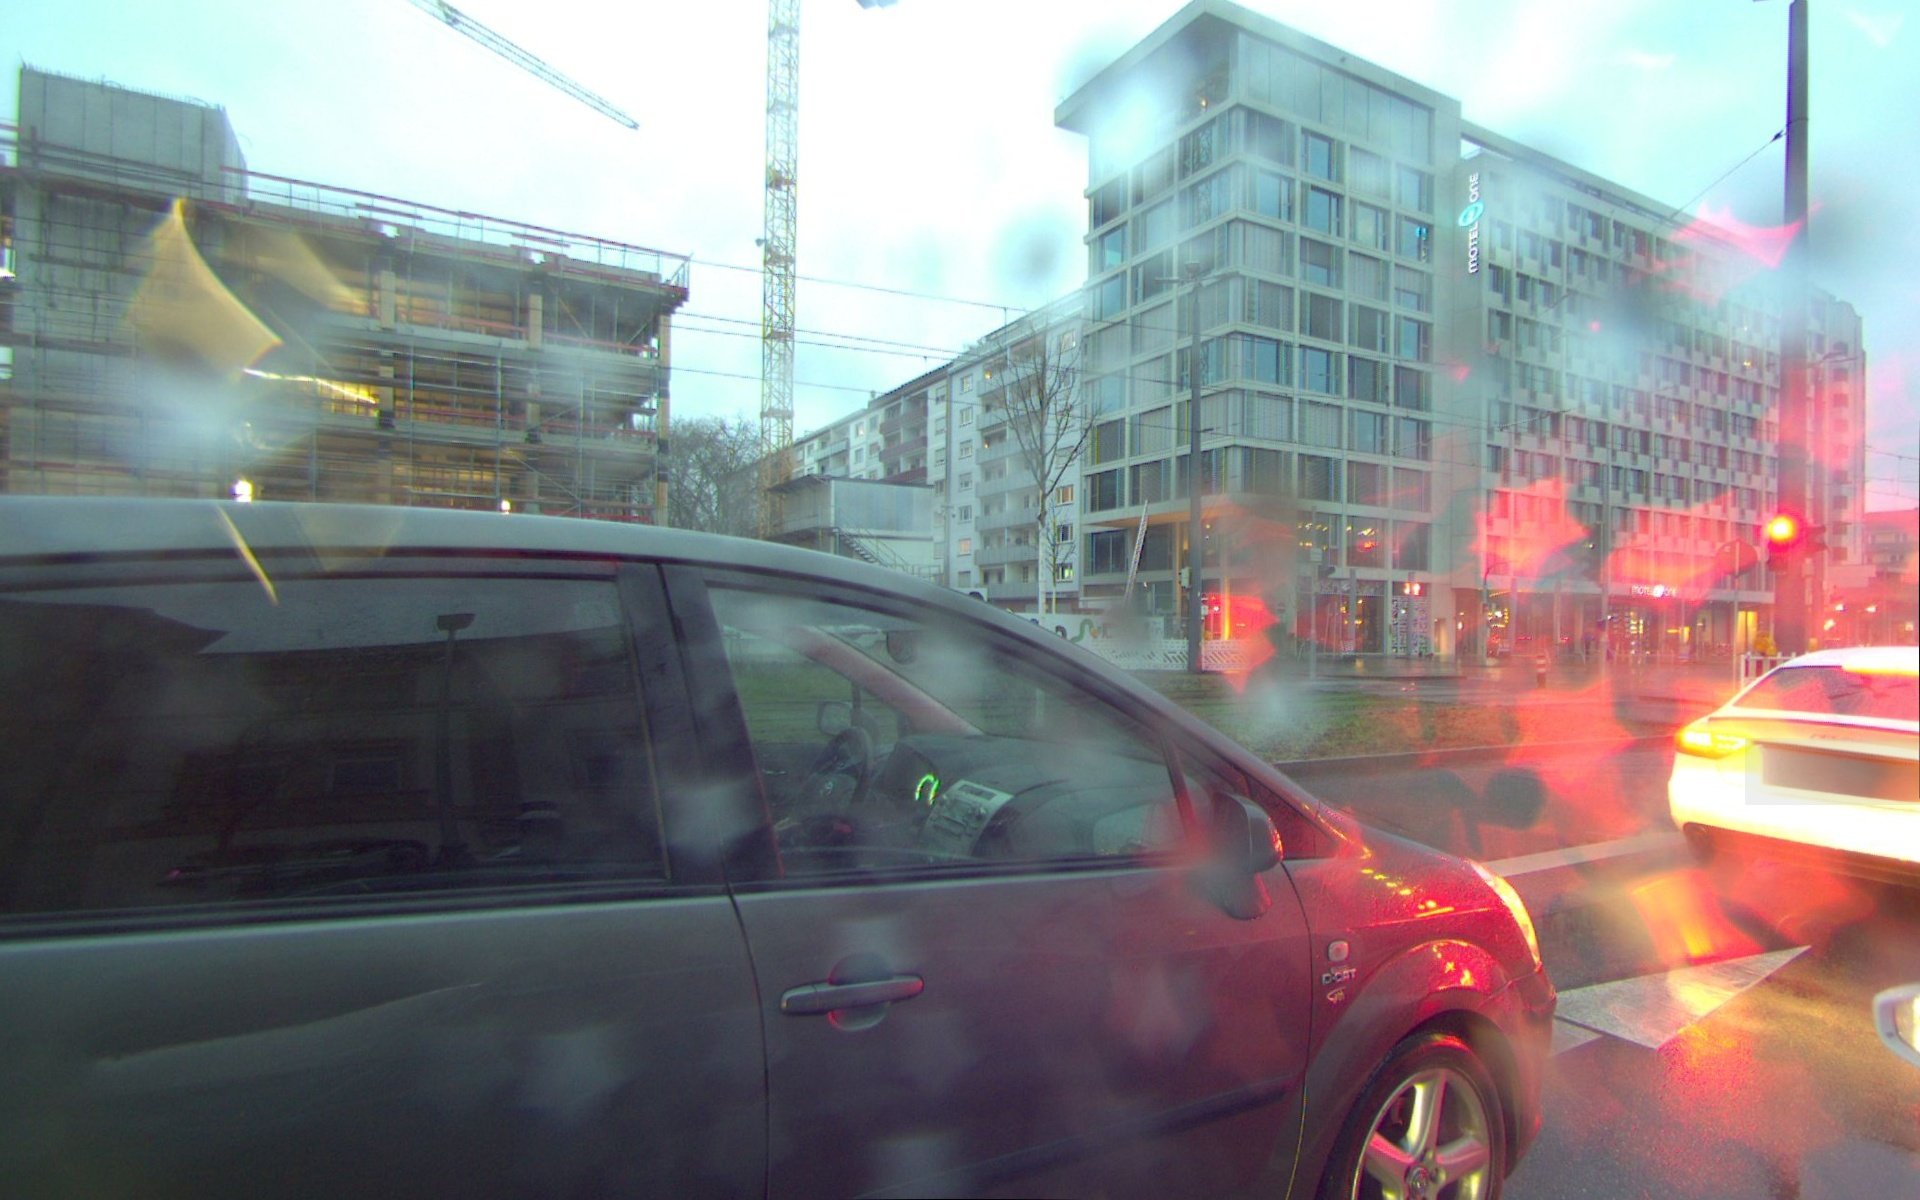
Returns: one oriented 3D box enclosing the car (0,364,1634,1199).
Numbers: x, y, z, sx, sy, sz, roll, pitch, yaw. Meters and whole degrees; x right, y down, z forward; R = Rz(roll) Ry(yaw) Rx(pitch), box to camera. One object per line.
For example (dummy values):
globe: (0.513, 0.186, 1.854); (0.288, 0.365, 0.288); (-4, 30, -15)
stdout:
car: (-0.551, 0.644, 2.139); (4.089, 1.668, 1.801); (1, 0, -32)

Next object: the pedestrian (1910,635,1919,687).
pedestrian: (32.809, 2.085, 34.055); (0.808, 1.734, 0.782); (2, 0, -45)

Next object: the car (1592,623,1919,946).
car: (6.075, 0.920, 6.234); (4.320, 1.475, 1.983); (1, 0, -32)
